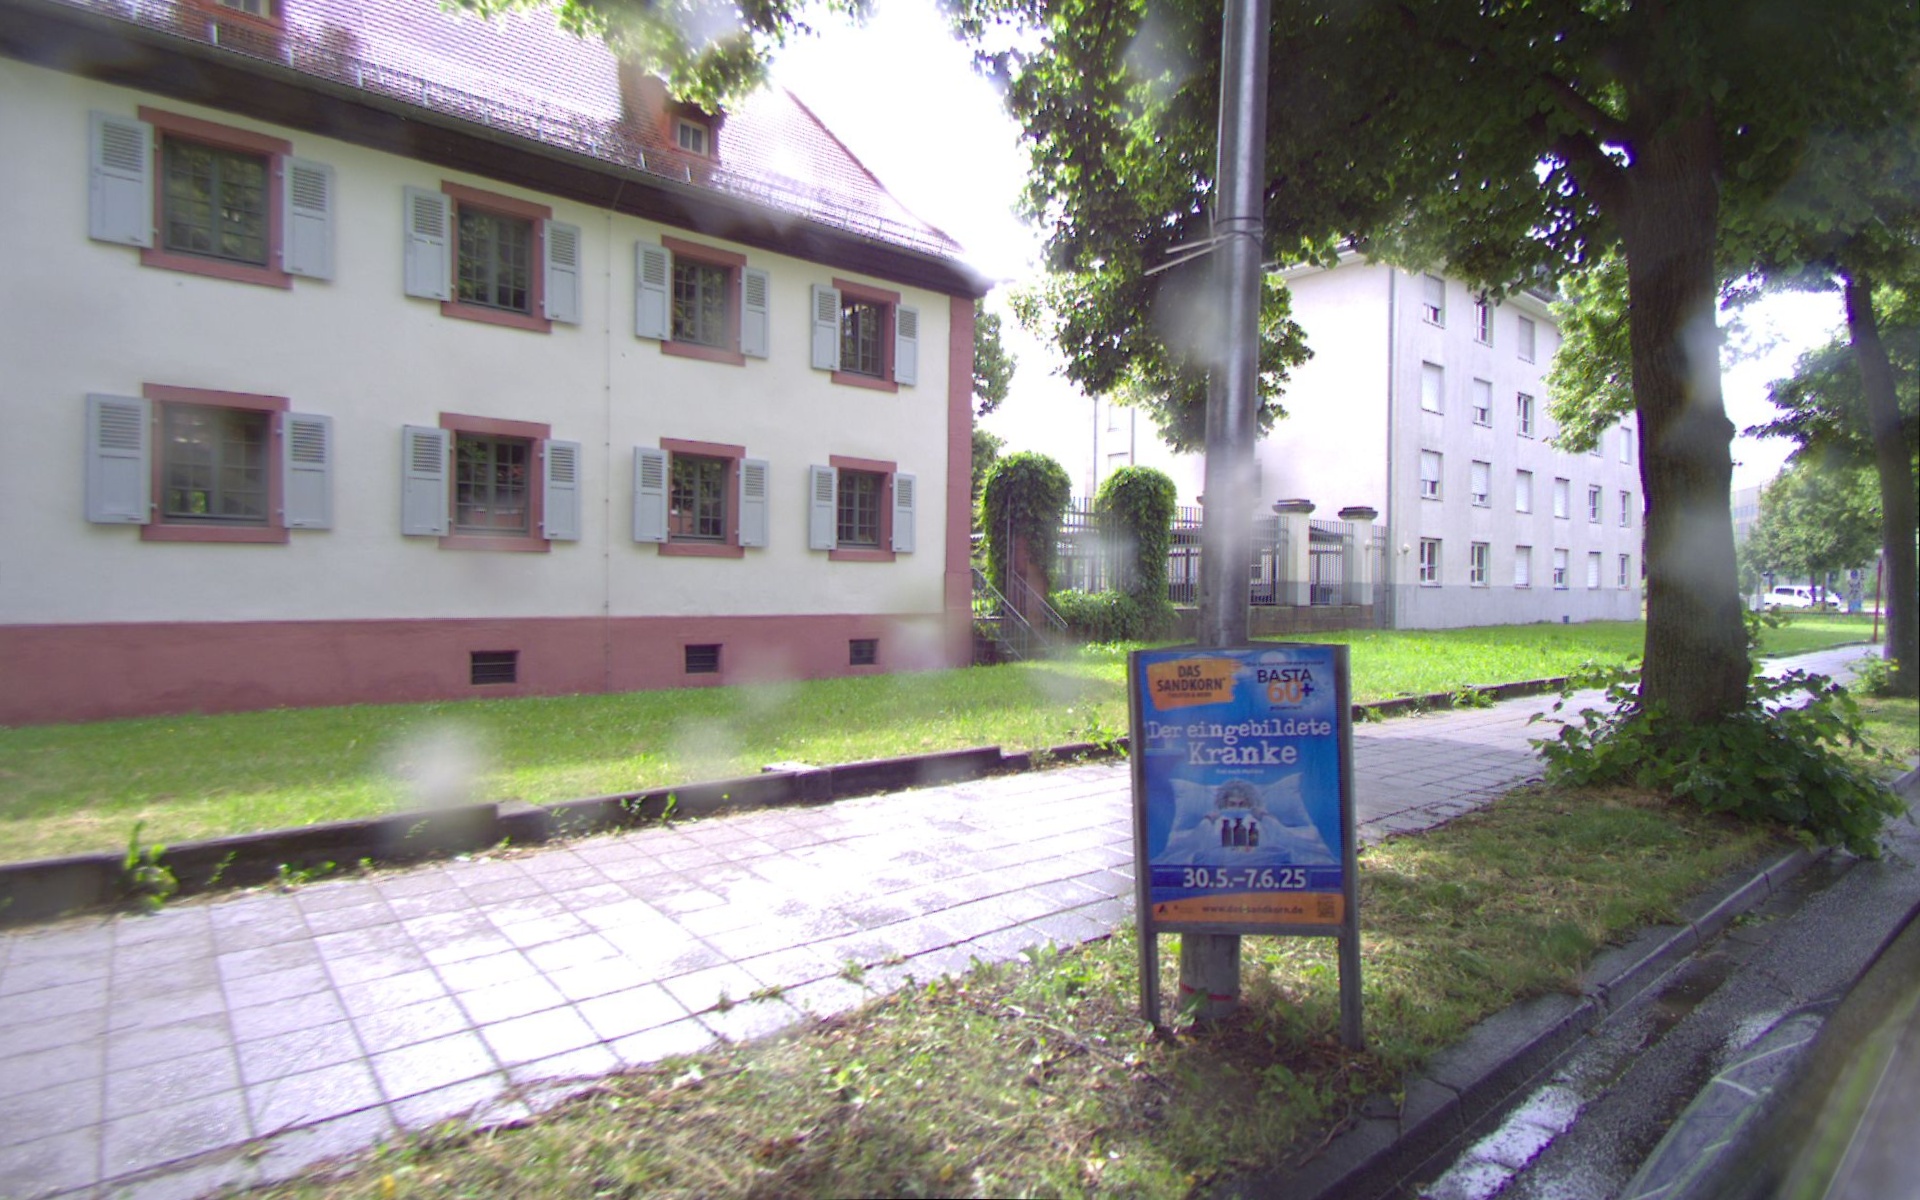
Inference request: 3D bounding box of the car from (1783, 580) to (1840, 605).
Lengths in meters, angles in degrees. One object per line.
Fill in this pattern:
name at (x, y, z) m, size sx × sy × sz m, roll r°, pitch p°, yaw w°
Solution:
car at (63.175, -0.570, 75.137) m, size 1.870 × 1.735 × 4.201 m, roll 1°, pitch 1°, yaw 21°
